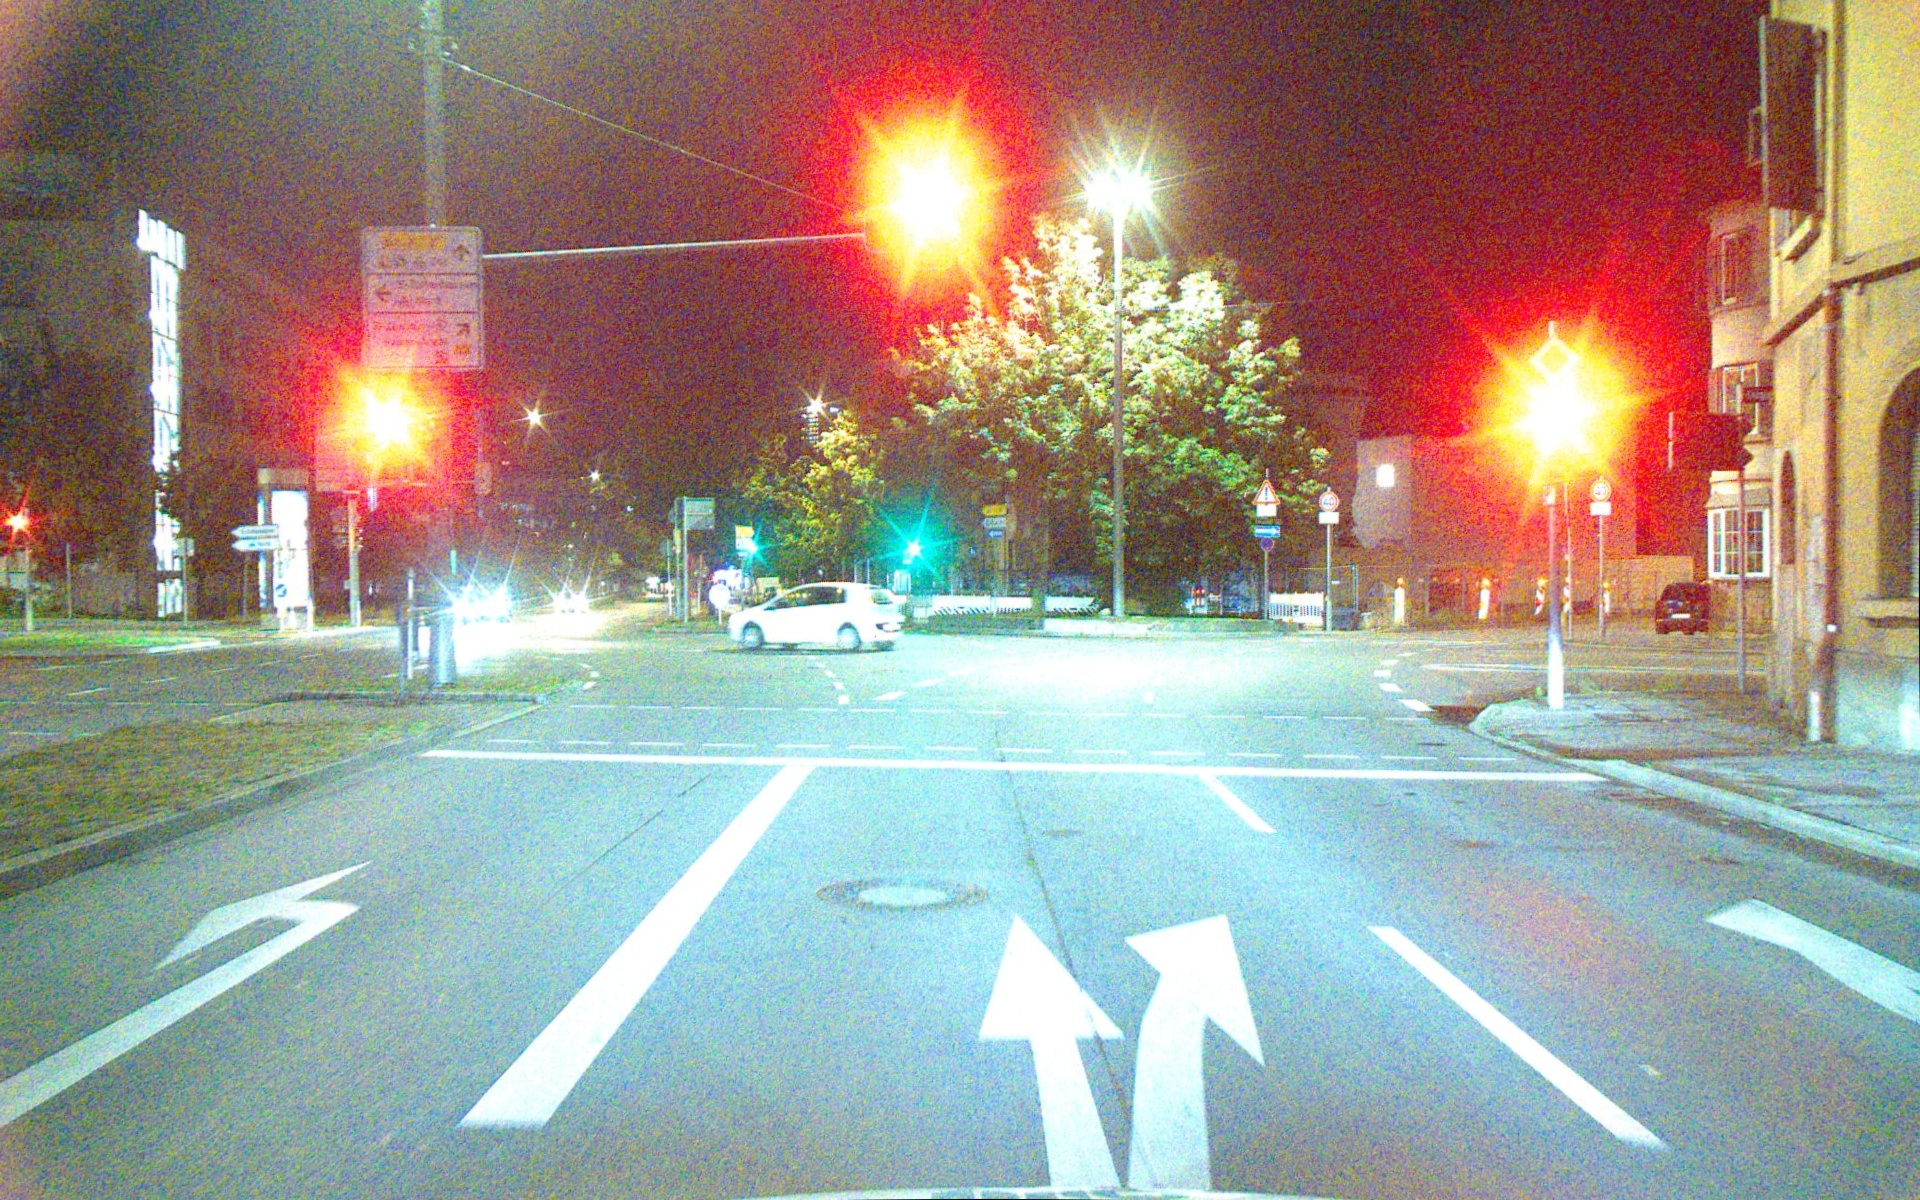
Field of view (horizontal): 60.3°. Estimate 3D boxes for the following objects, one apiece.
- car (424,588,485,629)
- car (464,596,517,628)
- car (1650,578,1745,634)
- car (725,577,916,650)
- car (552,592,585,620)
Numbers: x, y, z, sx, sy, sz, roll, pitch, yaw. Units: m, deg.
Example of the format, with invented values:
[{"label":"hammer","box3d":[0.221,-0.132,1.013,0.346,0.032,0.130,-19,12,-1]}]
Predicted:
[{"label":"car","box3d":[-19.567,0.336,64.110,1.585,1.541,3.994,0,0,-7]},{"label":"car","box3d":[-20.328,0.513,71.684,1.725,1.345,3.541,0,0,-8]},{"label":"car","box3d":[22.311,0.171,49.999,1.701,1.640,3.604,-1,0,40]},{"label":"car","box3d":[-3.081,0.291,36.401,3.911,1.517,1.706,0,0,28]},{"label":"car","box3d":[-25.882,0.393,109.394,1.725,1.758,3.541,0,0,-8]}]
